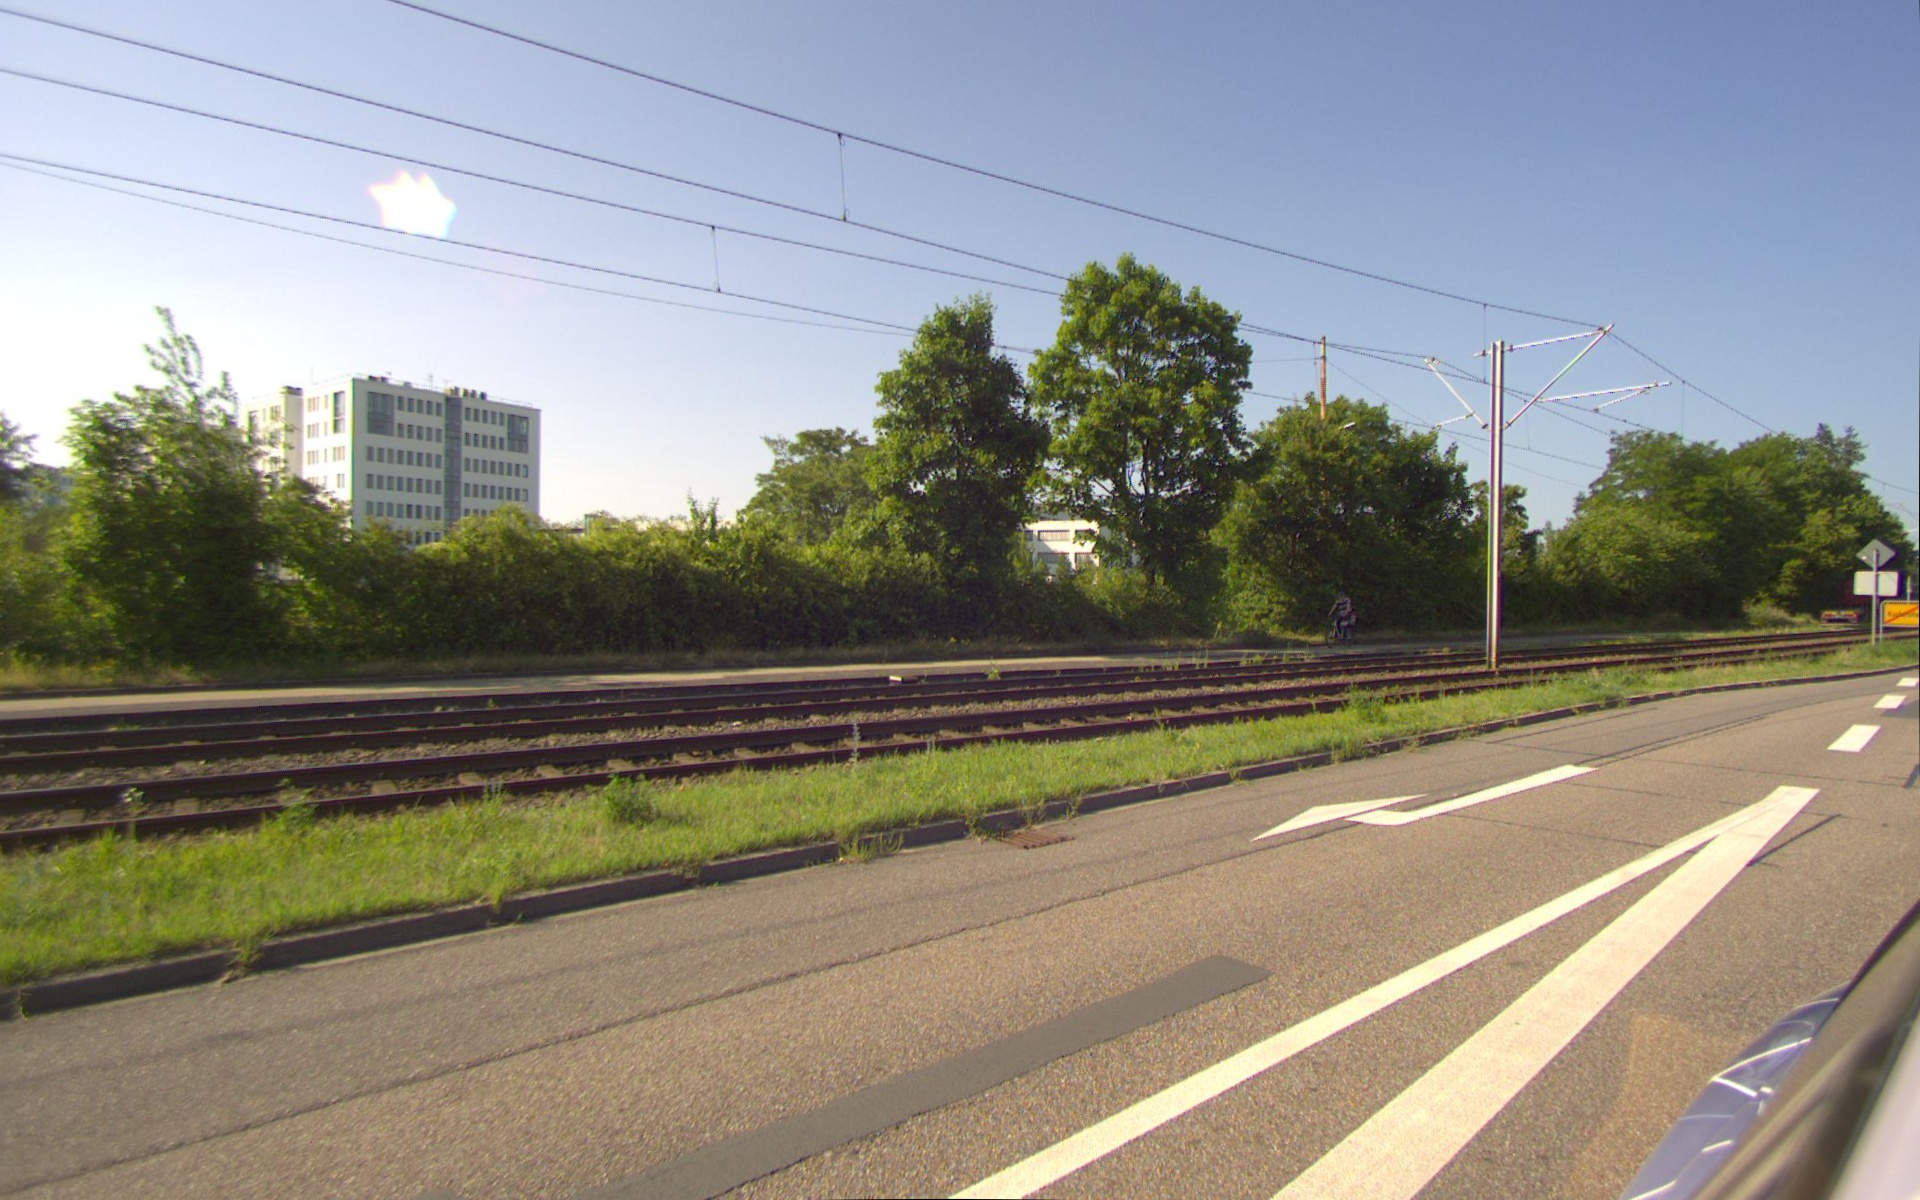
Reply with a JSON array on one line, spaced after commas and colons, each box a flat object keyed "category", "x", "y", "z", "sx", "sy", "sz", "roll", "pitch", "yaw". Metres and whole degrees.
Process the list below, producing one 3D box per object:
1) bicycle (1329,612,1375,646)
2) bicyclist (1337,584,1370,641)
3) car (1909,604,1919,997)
[{"category": "bicycle", "x": 12.830, "y": 0.927, "z": 33.078, "sx": 1.840, "sy": 1.060, "sz": 0.547, "roll": 0, "pitch": 1, "yaw": -39}, {"category": "bicyclist", "x": 12.880, "y": 0.400, "z": 33.129, "sx": 0.704, "sy": 1.830, "sz": 0.708, "roll": 0, "pitch": 0, "yaw": -38}, {"category": "car", "x": 5.750, "y": 0.734, "z": 4.480, "sx": 4.383, "sy": 1.442, "sz": 1.819, "roll": 0, "pitch": 0, "yaw": -41}]
